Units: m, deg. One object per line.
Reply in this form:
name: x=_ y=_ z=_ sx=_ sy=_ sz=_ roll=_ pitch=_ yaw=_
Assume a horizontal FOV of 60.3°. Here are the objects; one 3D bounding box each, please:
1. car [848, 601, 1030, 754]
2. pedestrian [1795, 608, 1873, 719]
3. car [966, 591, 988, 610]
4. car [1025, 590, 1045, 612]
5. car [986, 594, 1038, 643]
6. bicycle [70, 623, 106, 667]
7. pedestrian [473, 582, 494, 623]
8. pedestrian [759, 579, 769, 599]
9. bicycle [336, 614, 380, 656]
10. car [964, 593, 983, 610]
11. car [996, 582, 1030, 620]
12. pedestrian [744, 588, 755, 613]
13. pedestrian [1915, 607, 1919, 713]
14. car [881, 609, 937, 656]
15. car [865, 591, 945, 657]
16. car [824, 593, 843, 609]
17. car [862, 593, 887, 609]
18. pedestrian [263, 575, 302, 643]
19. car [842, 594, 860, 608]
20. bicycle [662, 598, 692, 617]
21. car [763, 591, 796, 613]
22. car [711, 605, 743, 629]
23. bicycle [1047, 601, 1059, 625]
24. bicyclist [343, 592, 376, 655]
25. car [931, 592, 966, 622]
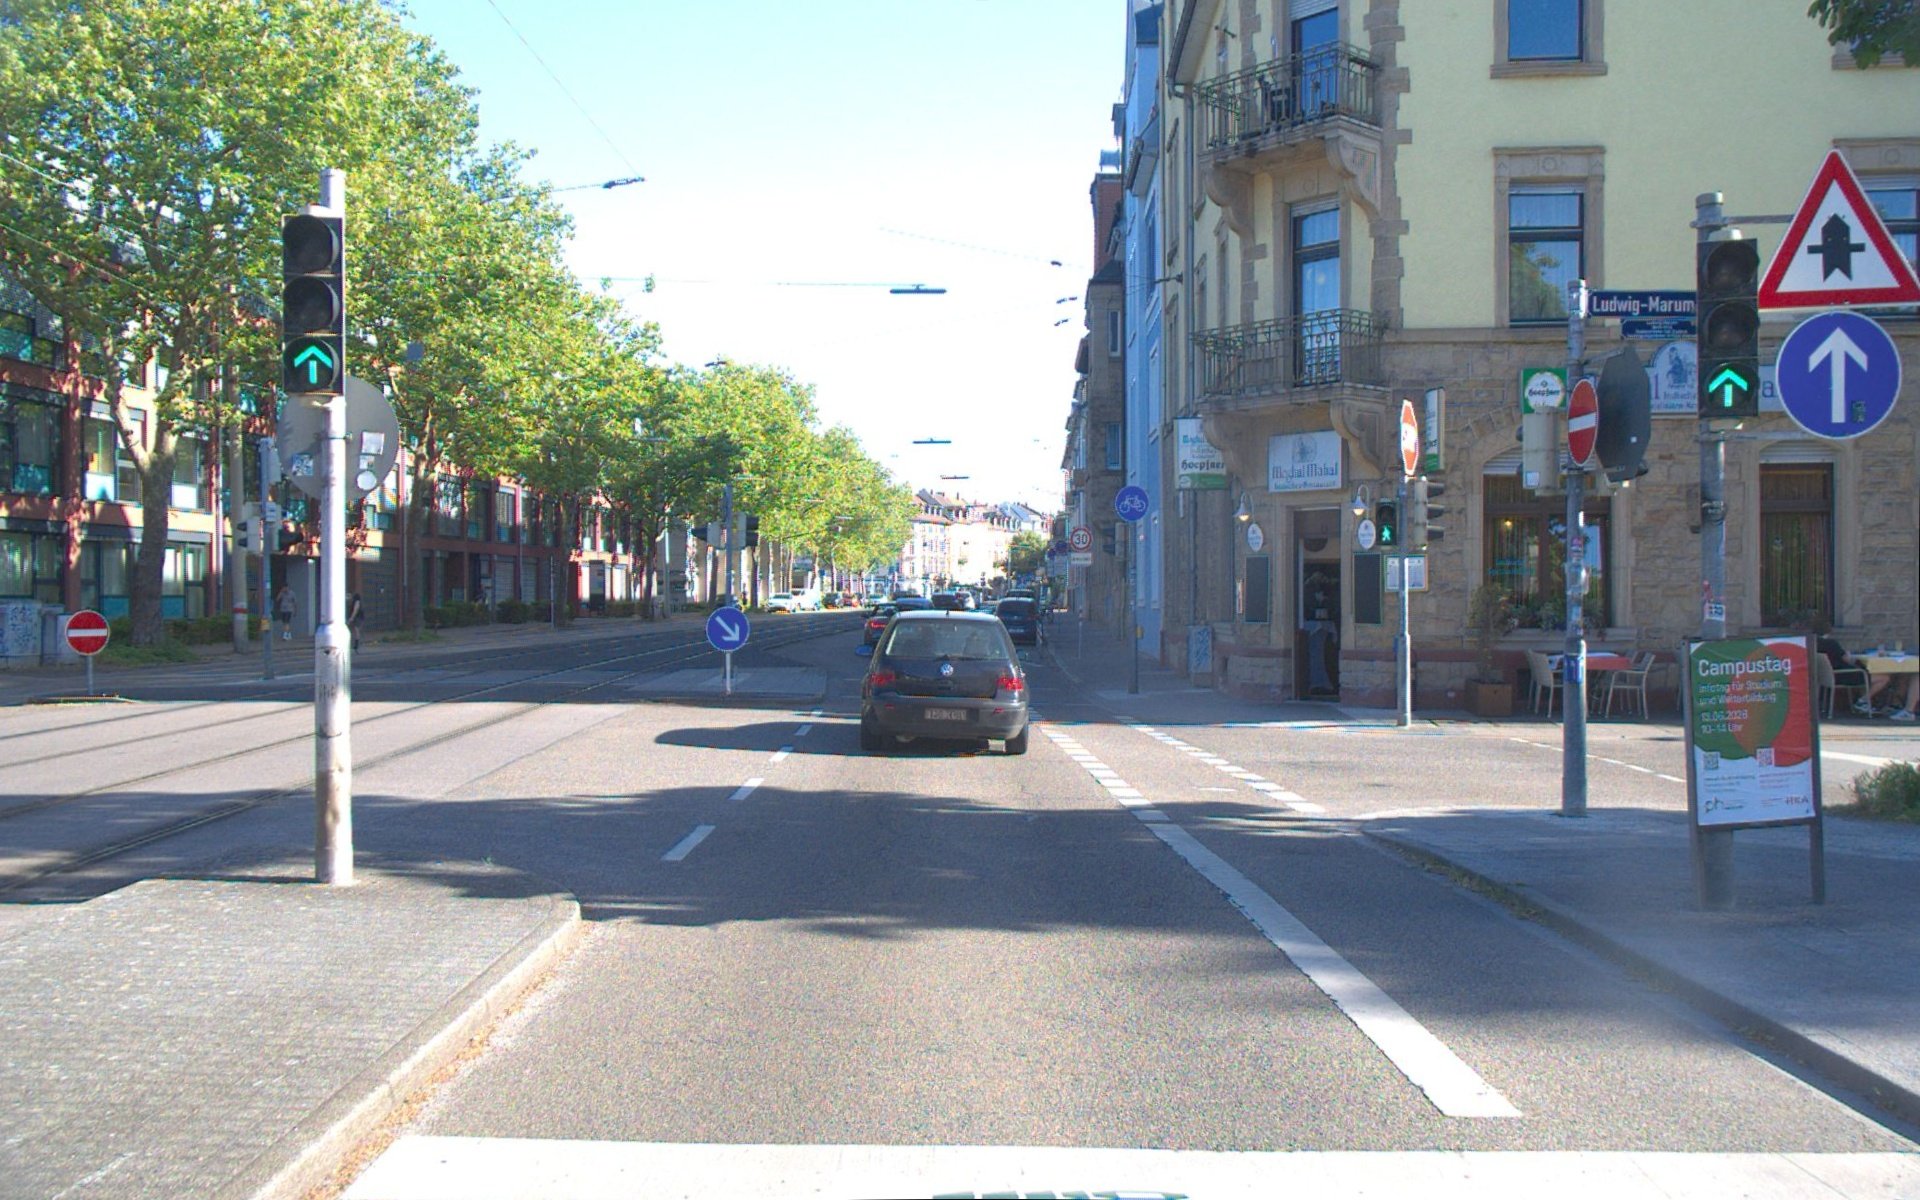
car: x=-0.159 y=0.733 z=17.623 sx=1.712 sy=1.399 sz=4.001 roll=0 pitch=1 yaw=1
pedestrian: x=11.343 y=0.815 z=21.471 sx=0.625 sy=1.383 sz=0.702 roll=2 pitch=0 yaw=3
car: x=1.369 y=0.040 z=131.503 sx=1.602 sy=1.498 sz=3.730 roll=0 pitch=0 yaw=2
car: x=6.752 y=0.050 z=148.862 sx=1.722 sy=1.870 sz=3.549 roll=2 pitch=1 yaw=2
car: x=1.708 y=0.576 z=54.442 sx=1.621 sy=1.508 sz=4.001 roll=1 pitch=0 yaw=2
bicycle: x=-19.217 y=0.980 z=36.467 sx=0.513 sy=0.922 sz=1.534 roll=0 pitch=0 yaw=-21
pedestrian: x=-20.634 y=0.085 z=71.635 sx=0.612 sy=1.748 sz=0.901 roll=2 pitch=0 yaw=1
pedestrian: x=-18.290 y=-1.029 z=154.444 sx=0.780 sy=1.852 sz=0.670 roll=2 pitch=0 yaw=2
bicycle: x=-16.201 y=0.927 z=44.554 sx=0.632 sy=1.061 sz=1.923 roll=2 pitch=1 yaw=-6
car: x=1.196 y=0.082 z=147.928 sx=1.602 sy=1.498 sz=3.730 roll=0 pitch=0 yaw=2
car: x=2.752 y=0.022 z=85.144 sx=1.716 sy=1.888 sz=4.817 roll=1 pitch=0 yaw=2
pedestrian: x=-16.053 y=0.012 z=126.124 sx=0.771 sy=1.902 sz=0.669 roll=1 pitch=0 yaw=-12
pedestrian: x=12.844 y=0.792 z=21.337 sx=0.625 sy=1.383 sz=0.702 roll=2 pitch=0 yaw=3
car: x=-1.804 y=1.133 z=59.455 sx=1.712 sy=1.564 sz=3.893 roll=0 pitch=1 yaw=3
car: x=-1.343 y=0.567 z=41.904 sx=1.712 sy=1.564 sz=3.893 roll=0 pitch=1 yaw=3
car: x=-12.818 y=0.136 z=167.588 sx=1.537 sy=1.560 sz=3.573 roll=0 pitch=-1 yaw=2
car: x=-8.731 y=0.111 z=169.254 sx=1.715 sy=1.544 sz=4.074 roll=-2 pitch=0 yaw=8
pedestrian: x=-20.790 y=0.269 z=50.766 sx=0.893 sy=2.049 sz=0.780 roll=2 pitch=0 yaw=-6
car: x=-12.137 y=0.144 z=184.375 sx=1.537 sy=1.560 sz=3.573 roll=0 pitch=-1 yaw=2
bicycle: x=-19.791 y=0.510 z=115.605 sx=1.966 sy=1.301 sz=0.664 roll=1 pitch=0 yaw=2
car: x=-14.510 y=0.155 z=133.250 sx=1.970 sy=1.600 sz=4.694 roll=2 pitch=1 yaw=1
car: x=-15.316 y=1.150 z=109.004 sx=1.476 sy=1.479 sz=3.464 roll=-1 pitch=-2 yaw=3
bicycle: x=4.658 y=0.643 z=82.942 sx=0.504 sy=1.159 sz=2.259 roll=-2 pitch=1 yaw=2
bicyclist: x=-16.190 y=0.630 z=44.598 sx=0.632 sy=1.639 sz=0.780 roll=2 pitch=0 yaw=-6
car: x=-0.557 y=0.329 z=84.228 sx=1.602 sy=1.498 sz=3.730 roll=0 pitch=0 yaw=2
